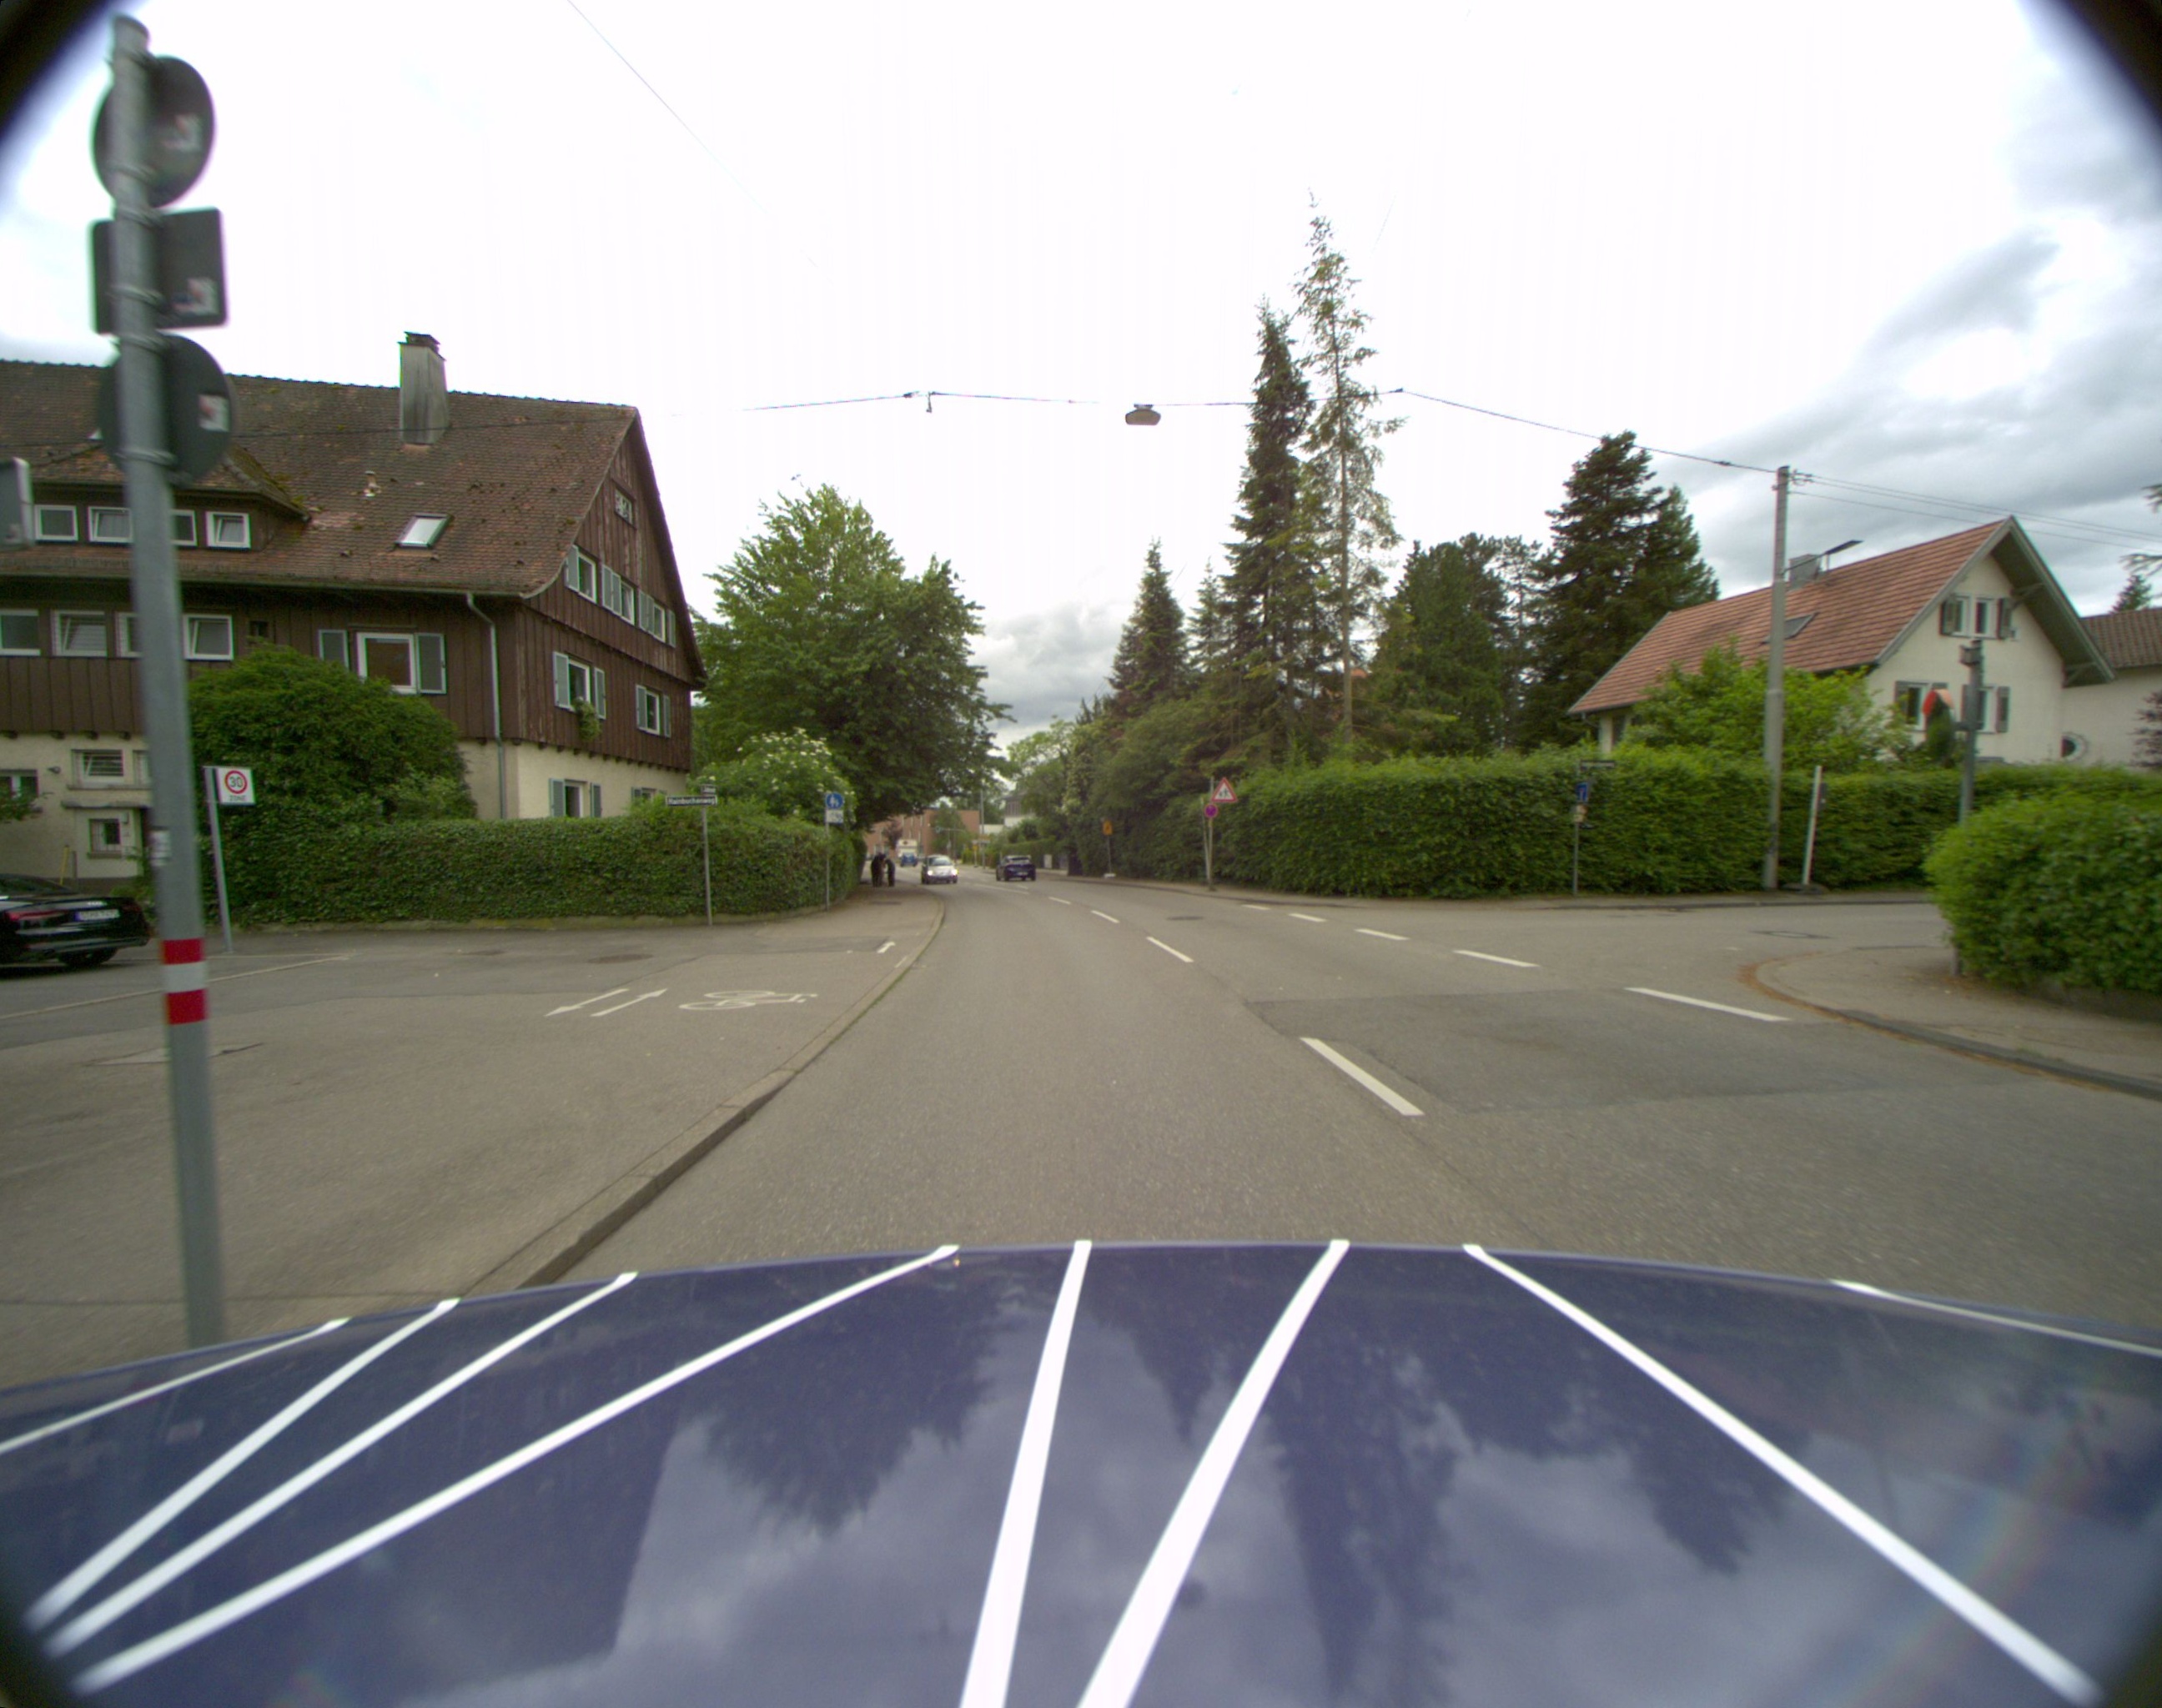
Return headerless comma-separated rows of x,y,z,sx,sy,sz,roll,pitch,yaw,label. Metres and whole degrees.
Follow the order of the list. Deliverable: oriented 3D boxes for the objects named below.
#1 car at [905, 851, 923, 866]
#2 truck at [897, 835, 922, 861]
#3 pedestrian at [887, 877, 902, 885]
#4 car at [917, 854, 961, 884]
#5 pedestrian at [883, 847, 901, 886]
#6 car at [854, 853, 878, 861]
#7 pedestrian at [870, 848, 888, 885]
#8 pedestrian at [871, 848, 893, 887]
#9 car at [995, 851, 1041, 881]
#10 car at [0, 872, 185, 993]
-20.423,0.555,92.791,1.813,1.707,4.371,-2,1,-17,car
-24.201,-0.901,107.225,2.789,3.442,7.480,-1,2,-17,truck
-9.498,1.374,38.699,0.675,0.391,0.739,-1,1,-18,pedestrian
-8.144,0.805,43.314,2.001,1.587,3.994,-1,1,-17,car
-8.923,0.575,35.803,0.601,1.797,0.519,0,1,23,pedestrian
-45.317,0.673,160.089,4.446,1.549,1.994,0,0,-42,car
-9.981,0.617,37.546,0.810,1.797,0.739,-1,1,-18,pedestrian
-9.303,0.603,35.580,0.671,1.797,0.692,0,1,32,pedestrian
-3.612,0.636,43.119,1.763,1.431,4.086,-3,2,-16,car
-15.349,1.025,10.215,3.998,1.434,1.999,-1,0,-5,car
